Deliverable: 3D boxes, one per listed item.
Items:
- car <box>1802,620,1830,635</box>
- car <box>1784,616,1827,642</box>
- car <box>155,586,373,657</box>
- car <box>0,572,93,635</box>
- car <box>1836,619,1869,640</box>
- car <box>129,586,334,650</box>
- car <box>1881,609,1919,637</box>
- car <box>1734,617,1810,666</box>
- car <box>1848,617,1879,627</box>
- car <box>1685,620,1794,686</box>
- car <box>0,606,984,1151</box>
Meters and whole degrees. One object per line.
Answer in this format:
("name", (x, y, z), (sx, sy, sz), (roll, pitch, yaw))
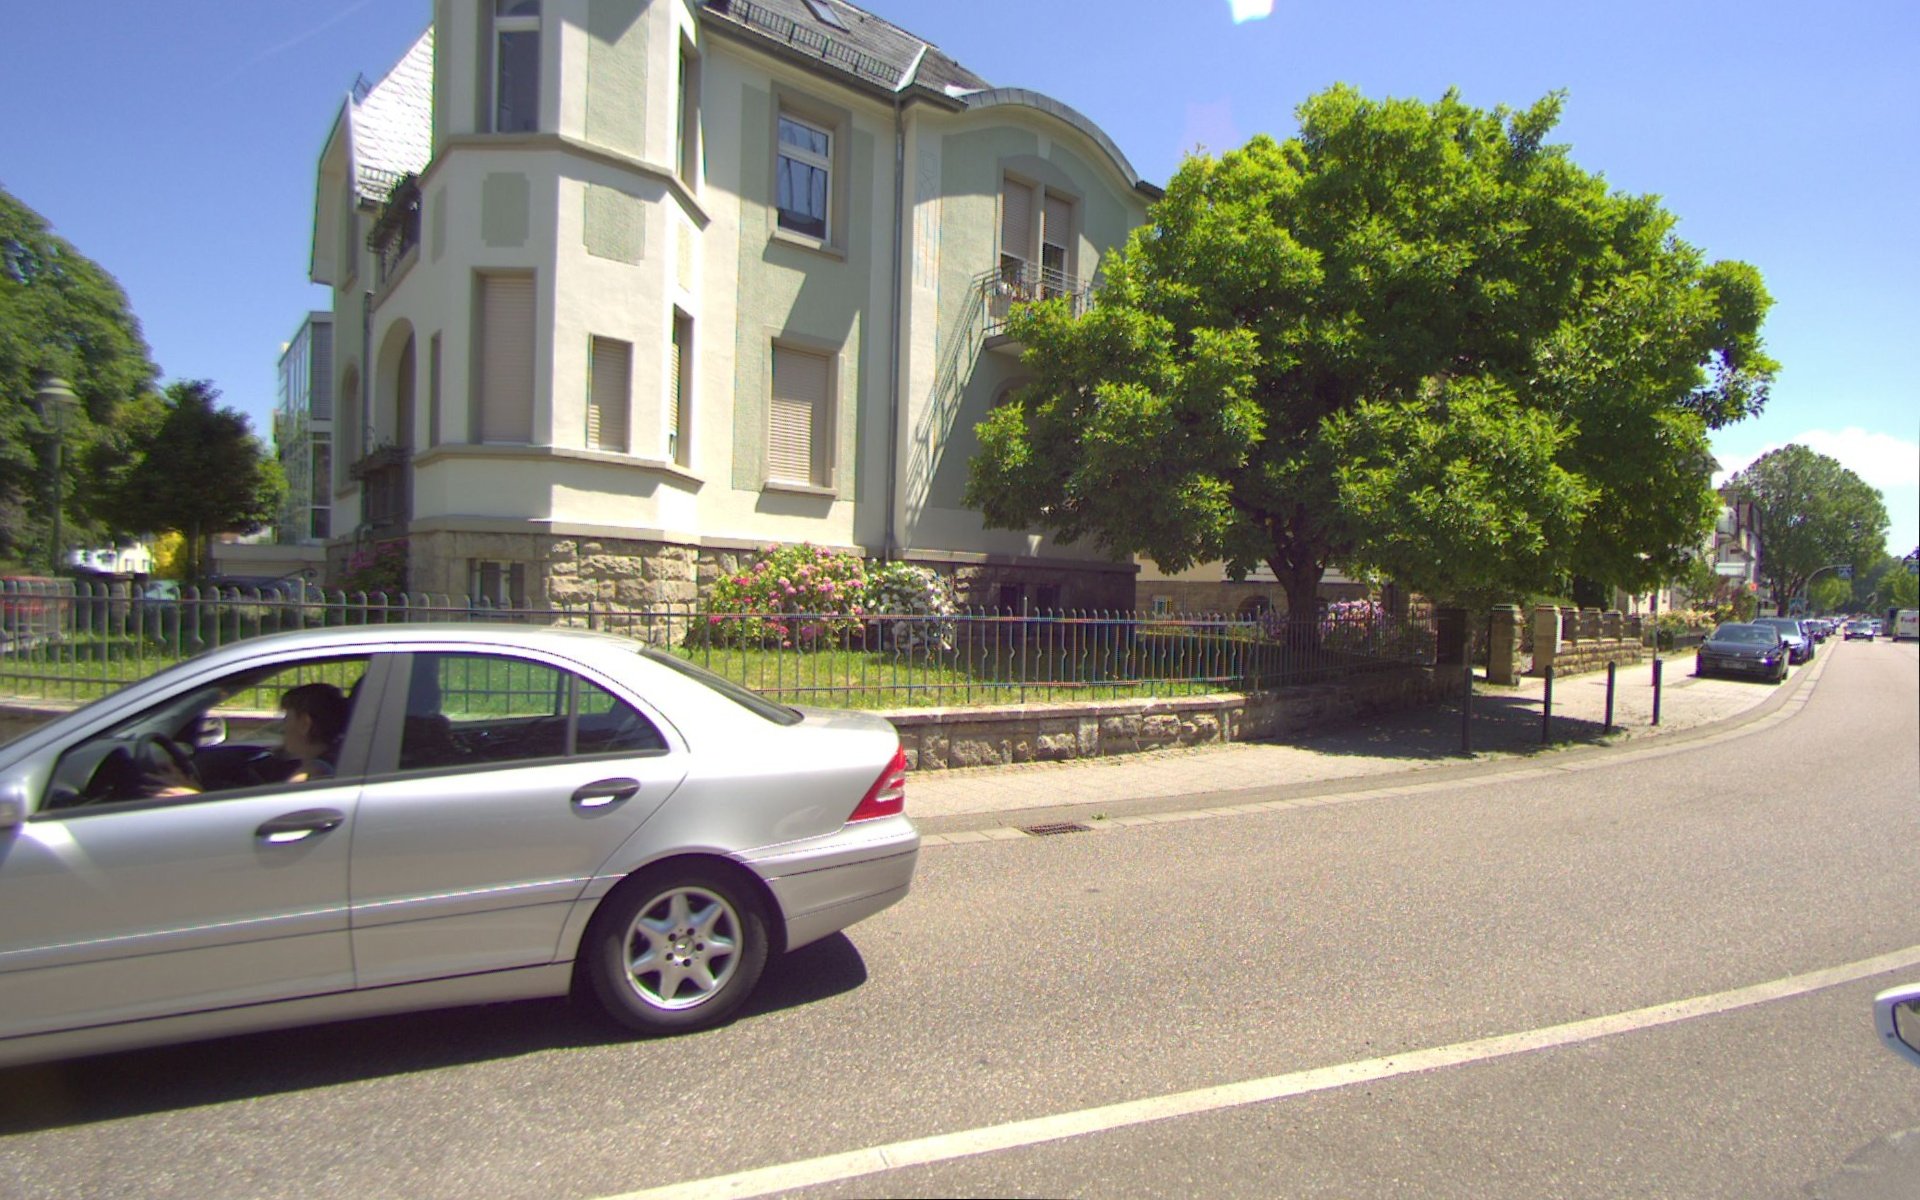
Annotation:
("car", (82.109, 2.611, 96.340), (1.970, 1.367, 3.980), (1, 0, 41))
("car", (59.688, 2.044, 70.892), (4.441, 1.743, 1.907), (1, 0, -44))
("car", (-15.877, 0.467, 23.153), (3.958, 1.445, 1.981), (1, 1, -33))
("car", (-25.680, 0.058, 27.896), (1.980, 1.640, 4.461), (1, 0, -35))
("car", (73.628, 2.409, 82.903), (1.951, 1.693, 4.449), (1, 0, 40))
("car", (-17.966, 0.433, 25.031), (3.955, 1.454, 1.865), (1, 1, -32))
("car", (76.392, 1.854, 81.587), (2.046, 2.226, 5.113), (-1, -1, 40))
("car", (30.613, 1.515, 37.813), (1.904, 1.594, 4.634), (5, 2, 42))
("car", (167.050, 4.015, 185.737), (1.984, 1.673, 3.952), (1, 0, -40))
("car", (20.877, 1.344, 26.824), (1.904, 1.456, 4.634), (5, 2, 42))
("car", (-2.191, 0.775, 3.824), (4.244, 1.454, 1.754), (1, -1, -24))
